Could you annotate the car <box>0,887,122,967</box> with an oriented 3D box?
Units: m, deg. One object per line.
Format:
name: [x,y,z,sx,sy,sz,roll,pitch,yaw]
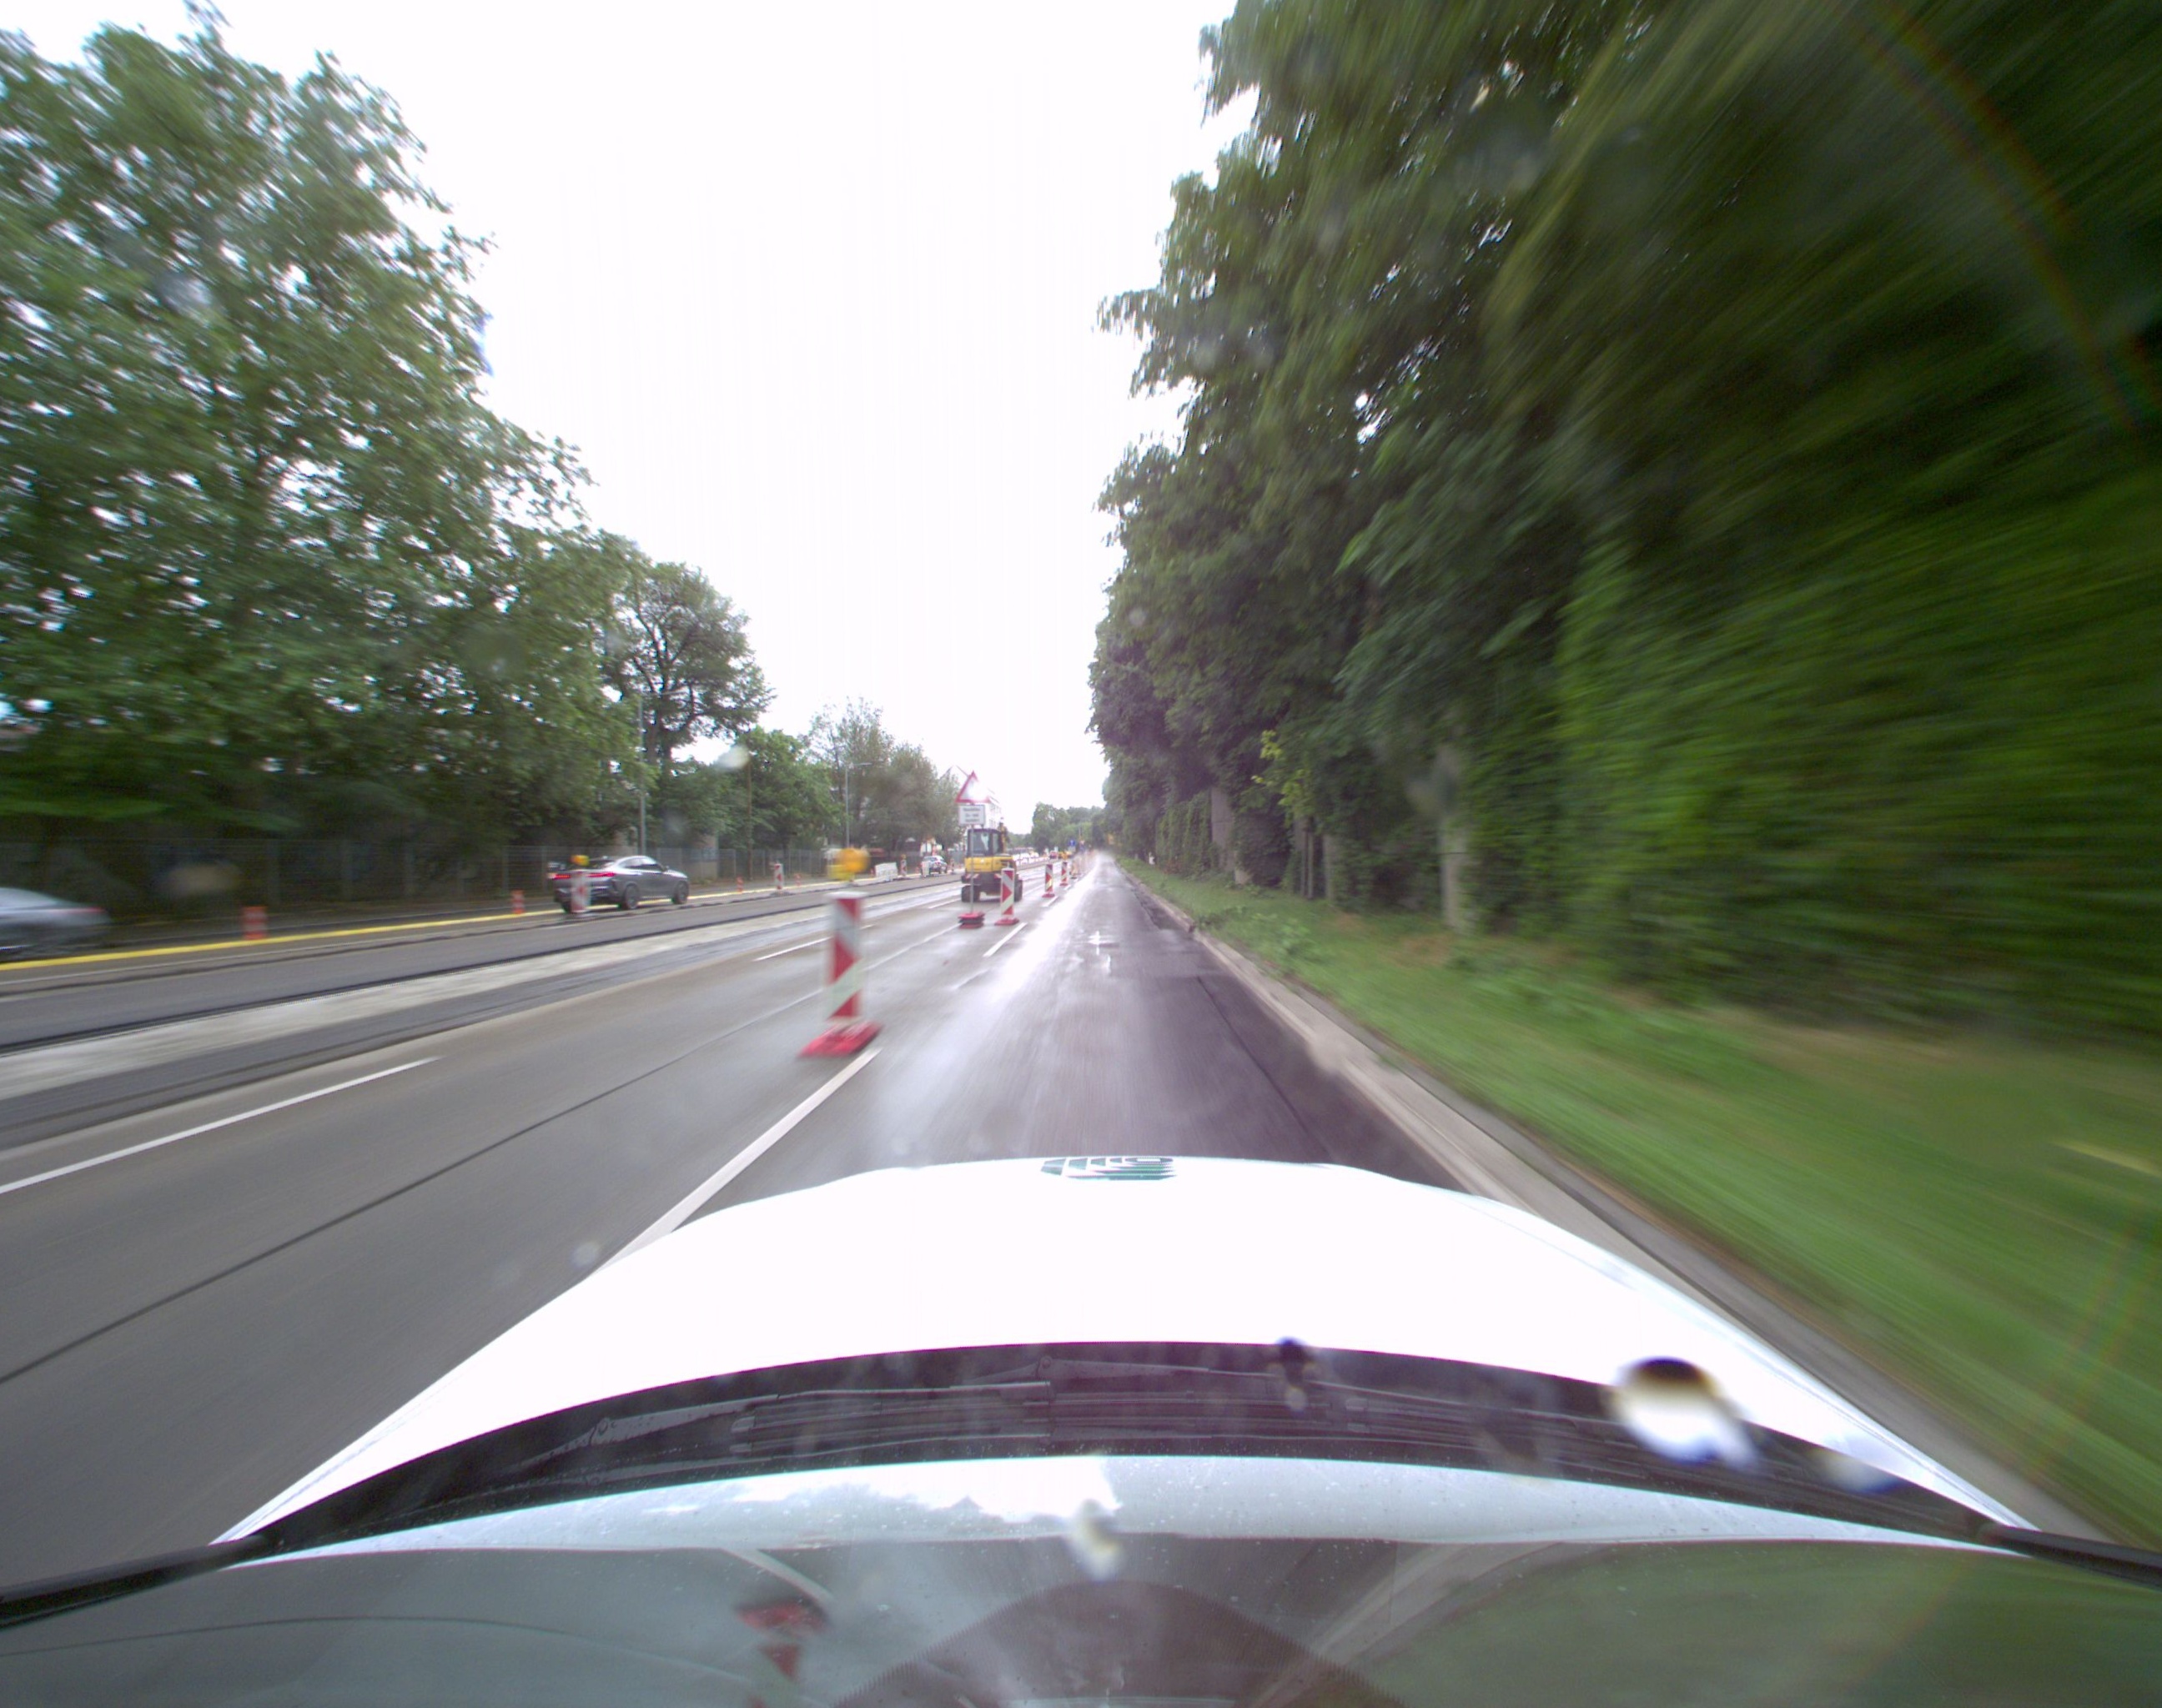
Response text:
car: [-20.119,1.337,13.797,1.986,1.348,4.793,-1,0,2]

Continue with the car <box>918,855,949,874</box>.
car: [-13.025,0.891,72.168,1.848,1.648,4.001,-1,0,2]

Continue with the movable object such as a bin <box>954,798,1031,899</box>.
movable object such as a bin: [-3.162,-0.175,30.296,1.986,3.367,5.985,-1,0,2]

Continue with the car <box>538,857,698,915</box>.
car: [-14.371,0.918,25.704,2.069,1.613,5.057,-1,0,1]

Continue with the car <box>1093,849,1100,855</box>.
car: [4.381,-0.563,226.988,1.986,1.673,4.002,-1,0,2]
